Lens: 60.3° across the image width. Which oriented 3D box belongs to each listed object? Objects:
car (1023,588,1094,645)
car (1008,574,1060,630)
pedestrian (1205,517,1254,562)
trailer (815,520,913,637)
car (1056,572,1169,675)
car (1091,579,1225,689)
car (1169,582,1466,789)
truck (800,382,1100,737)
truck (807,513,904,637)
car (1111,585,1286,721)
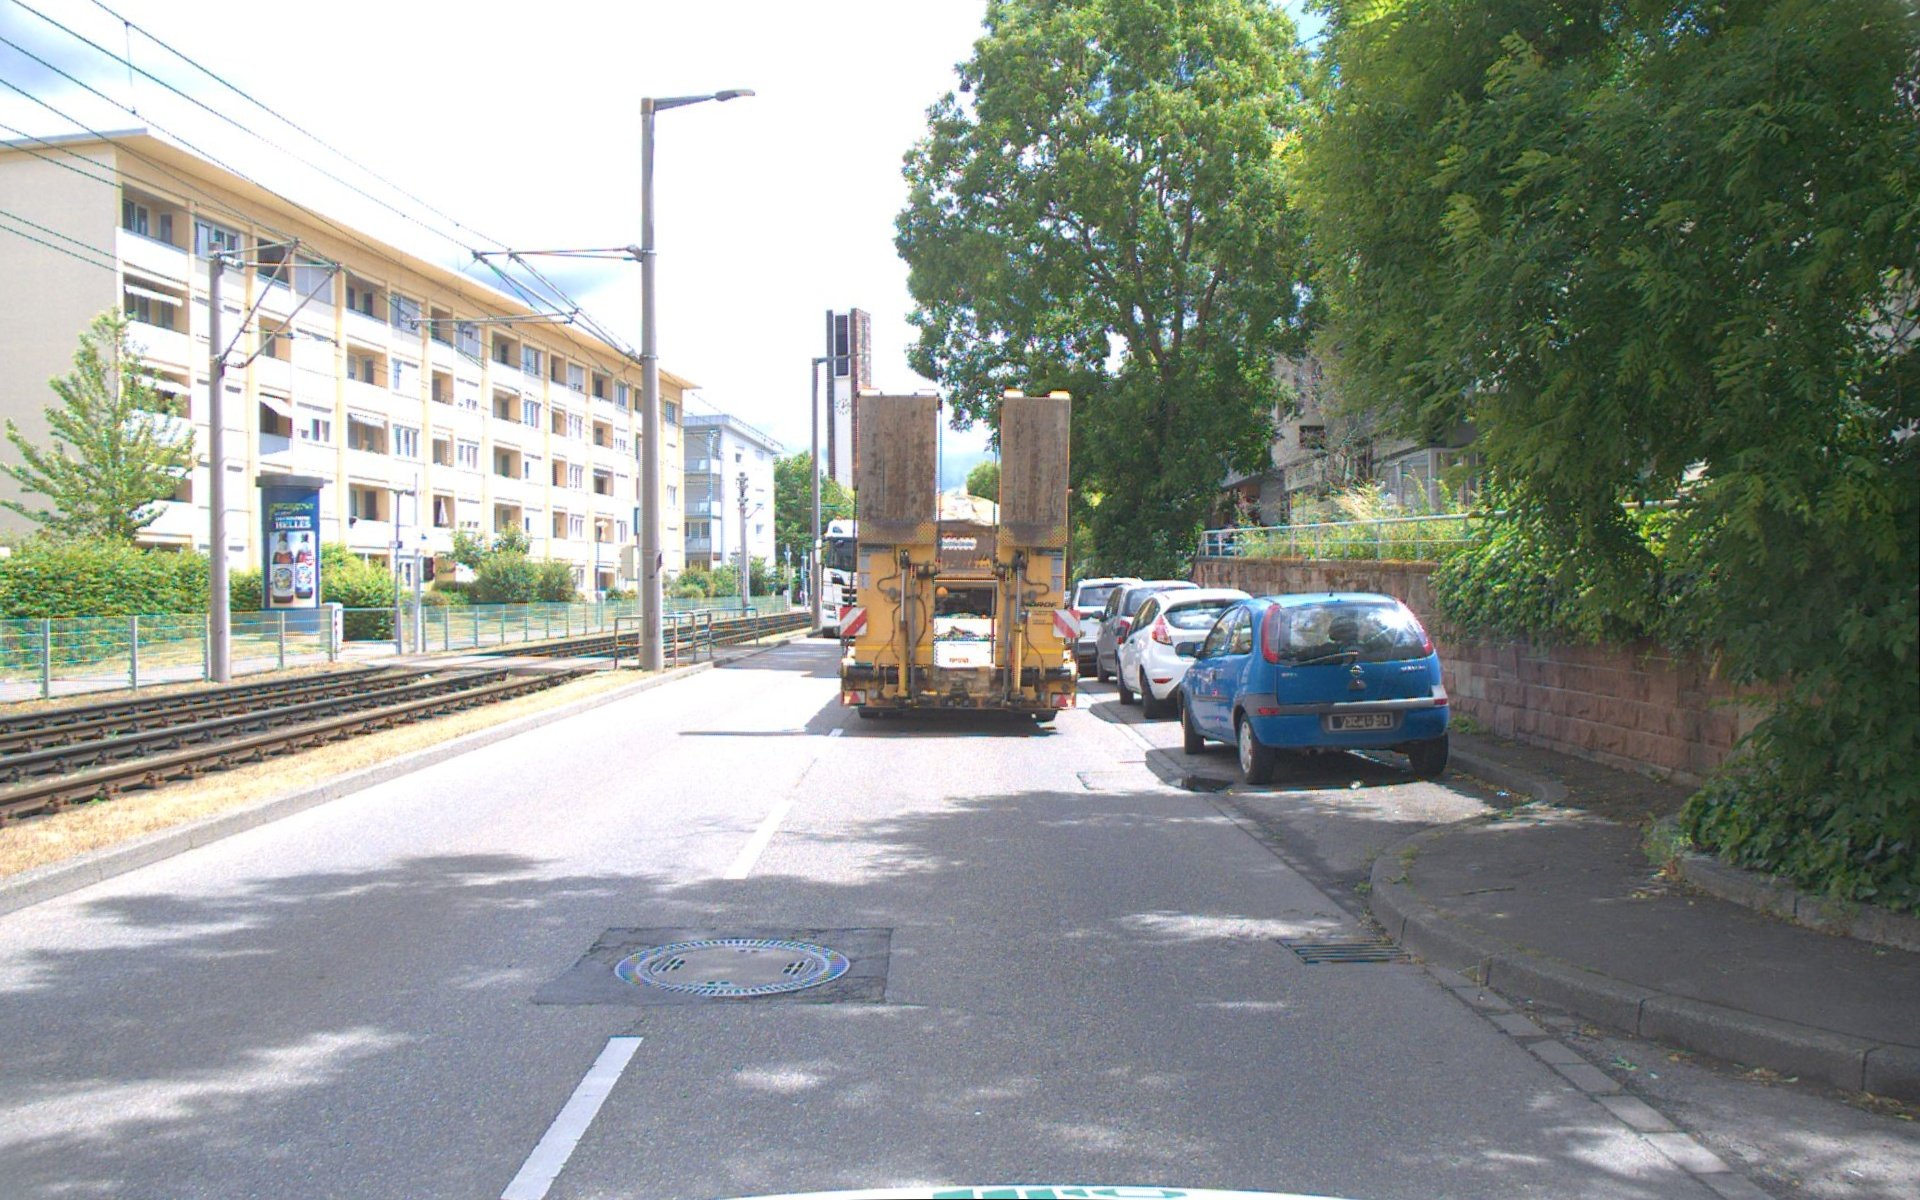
[{"bbox_3d":[2.695,0.417,46.035,1.798,1.430,4.414,-2,1,1],"label":"car"},{"bbox_3d":[2.803,0.040,63.768,1.762,2.002,4.590,-2,1,0],"label":"car"},{"bbox_3d":[4.979,-1.119,30.610,0.779,0.804,0.705,0,1,-2],"label":"pedestrian"},{"bbox_3d":[-3.200,-0.770,58.727,2.643,3.642,13.675,1,1,0],"label":"trailer"},{"bbox_3d":[2.735,0.370,30.552,1.786,1.711,4.577,-1,1,2],"label":"car"},{"bbox_3d":[3.018,0.477,25.785,1.549,1.579,3.474,0,1,-2],"label":"car"},{"bbox_3d":[2.914,0.618,14.230,1.576,1.482,3.674,-2,1,-3],"label":"car"},{"bbox_3d":[-0.220,-0.509,23.223,3.060,3.626,12.457,0,1,-1],"label":"truck"},{"bbox_3d":[-3.201,-0.784,52.074,2.643,3.643,6.145,1,1,0],"label":"truck"},{"bbox_3d":[2.890,0.582,20.735,1.611,1.516,3.822,0,1,-1],"label":"car"}]
